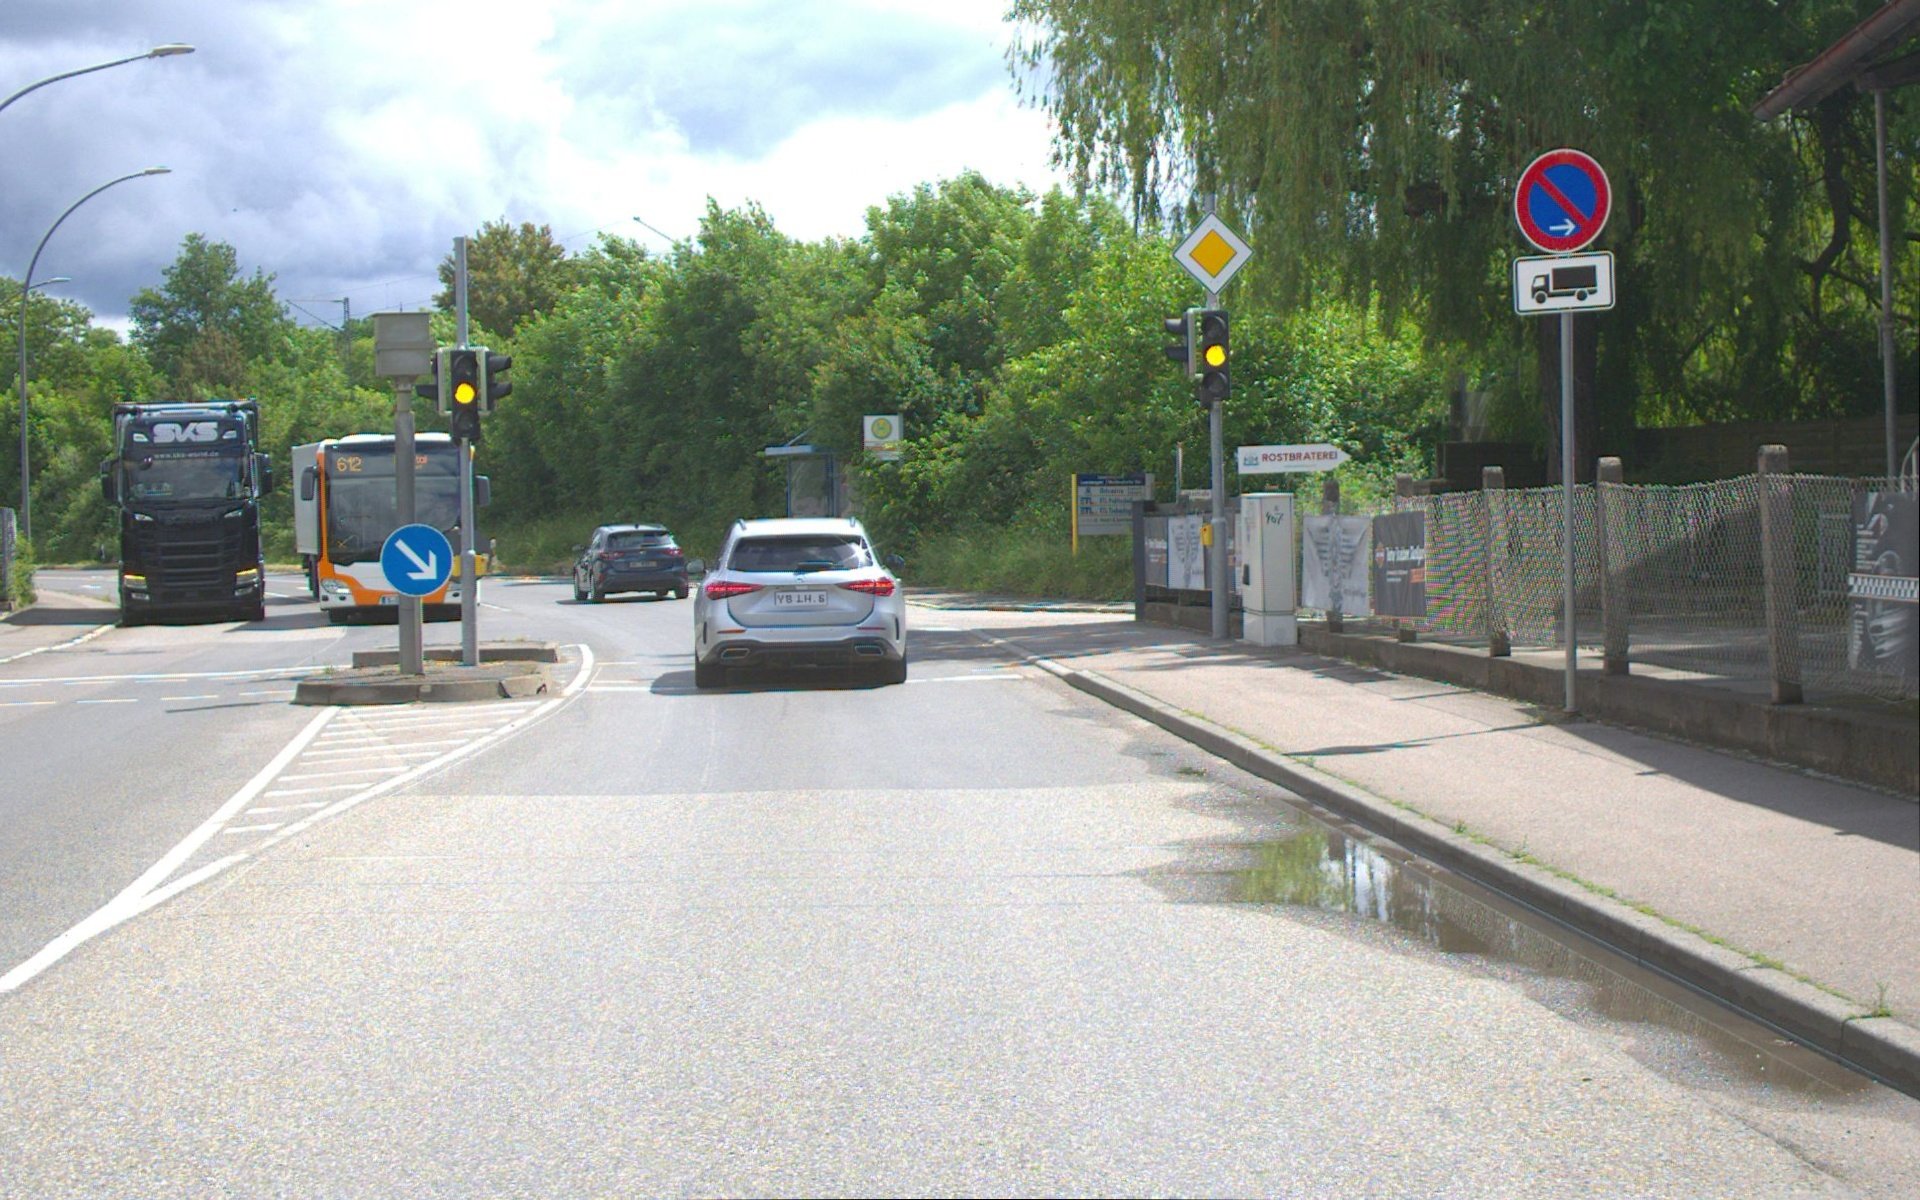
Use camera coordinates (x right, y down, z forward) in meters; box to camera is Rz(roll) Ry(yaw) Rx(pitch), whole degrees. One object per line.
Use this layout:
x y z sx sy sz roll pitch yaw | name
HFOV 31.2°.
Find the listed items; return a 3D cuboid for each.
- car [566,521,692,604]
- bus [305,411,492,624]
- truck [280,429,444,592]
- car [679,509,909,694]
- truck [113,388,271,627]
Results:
-6.299 -0.740 65.099 1.884 1.503 4.001 -1 1 -13 | car
-9.681 -1.428 60.097 2.777 3.255 12.127 -2 2 -8 | bus
-14.134 -2.080 80.652 2.839 3.528 9.728 -2 1 -15 | truck
-1.520 -0.038 30.378 1.884 1.503 4.001 -1 1 -4 | car
-14.289 -1.675 64.425 2.428 4.117 9.153 1 1 -10 | truck
